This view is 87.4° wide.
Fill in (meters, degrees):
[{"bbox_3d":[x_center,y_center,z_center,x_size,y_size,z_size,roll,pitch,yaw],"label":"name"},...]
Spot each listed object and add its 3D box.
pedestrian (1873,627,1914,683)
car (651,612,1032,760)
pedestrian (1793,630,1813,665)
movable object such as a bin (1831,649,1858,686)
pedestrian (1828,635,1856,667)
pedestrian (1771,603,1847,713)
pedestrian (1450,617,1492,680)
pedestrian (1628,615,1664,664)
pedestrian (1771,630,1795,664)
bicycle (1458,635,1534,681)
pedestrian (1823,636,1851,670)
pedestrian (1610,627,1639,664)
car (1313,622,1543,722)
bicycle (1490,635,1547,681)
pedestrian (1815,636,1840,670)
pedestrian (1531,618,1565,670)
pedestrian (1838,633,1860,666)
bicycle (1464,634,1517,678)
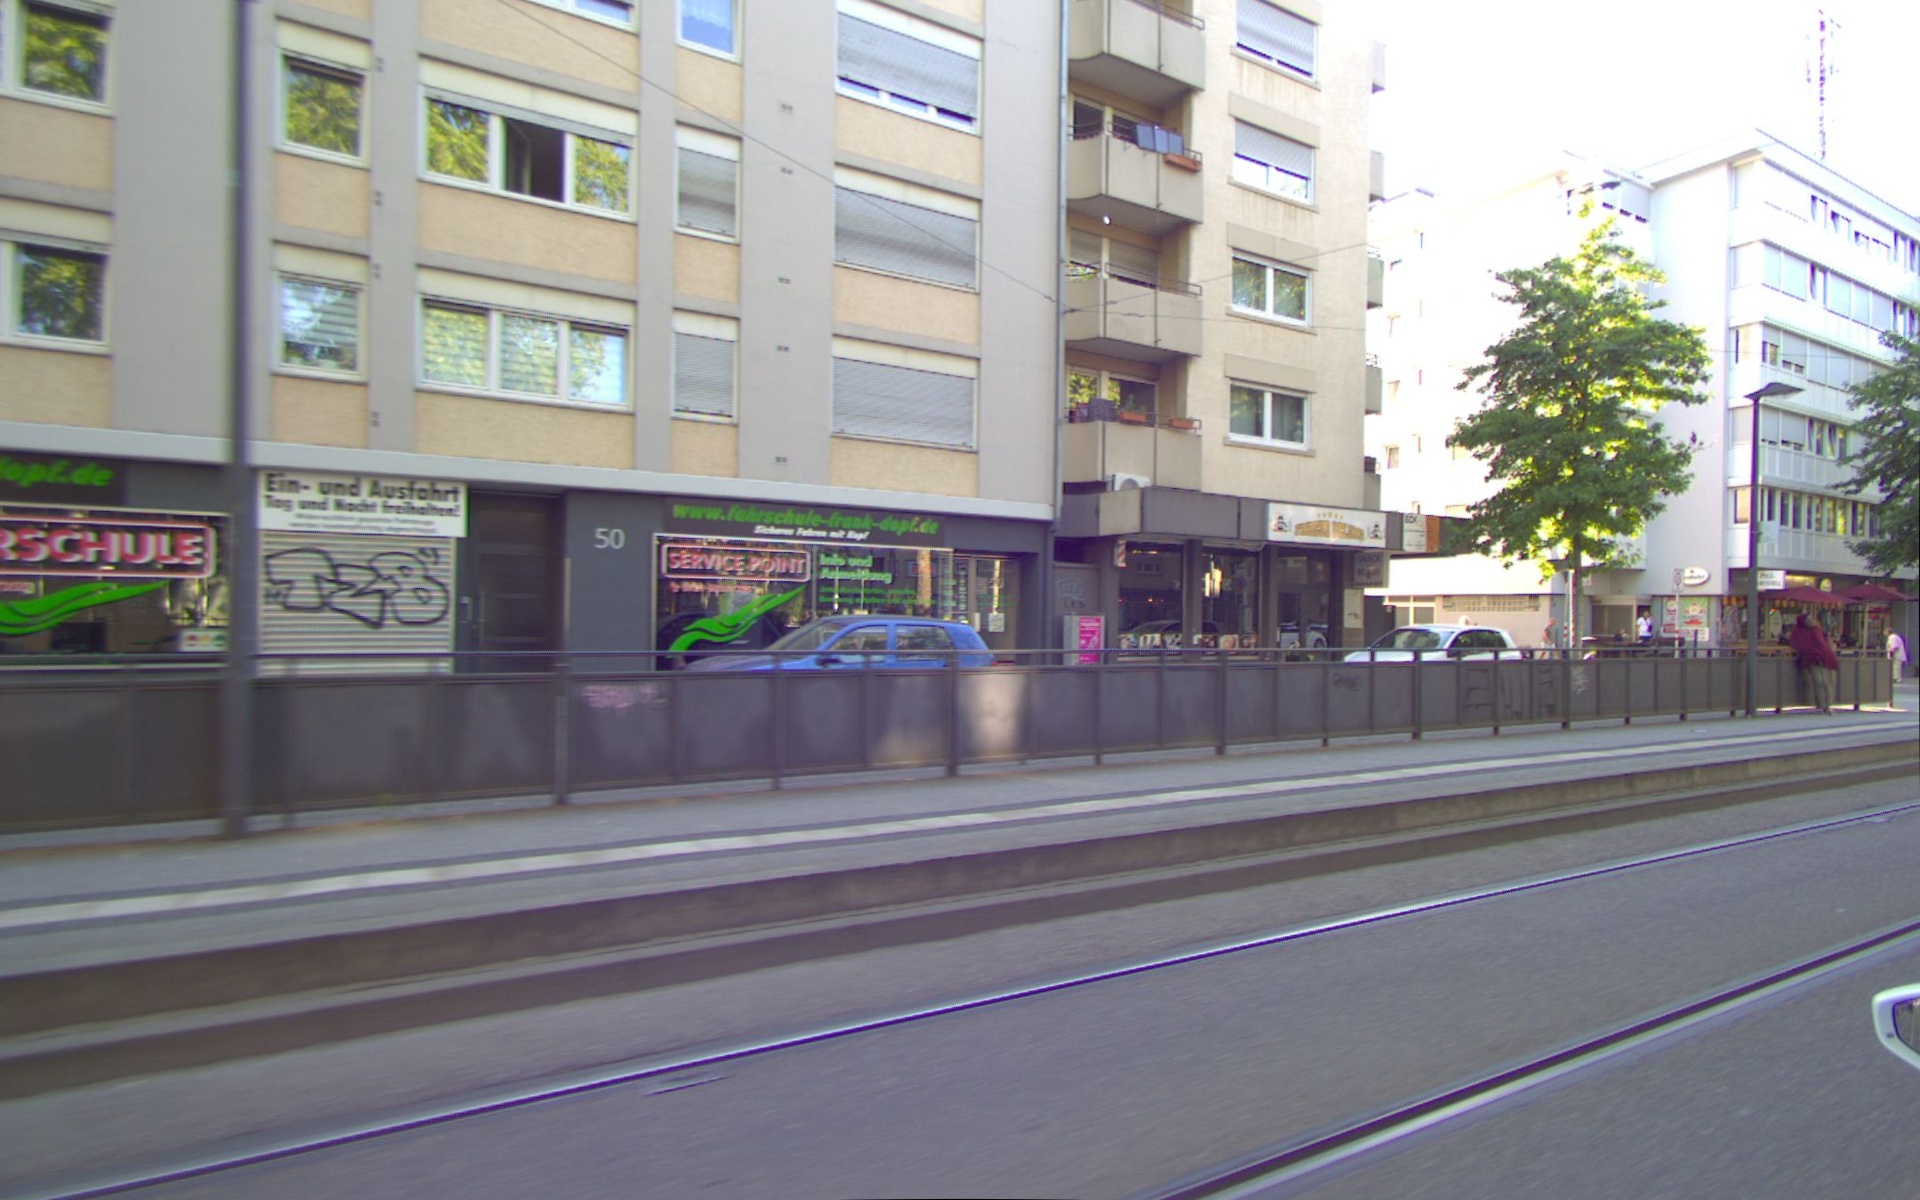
[{"bbox_3d":[26.651,1.564,28.689,0.761,1.577,0.720,1,-1,-35],"label":"pedestrian"},{"bbox_3d":[-1.424,0.976,12.553,4.337,1.565,1.947,1,-2,-30],"label":"car"},{"bbox_3d":[29.354,1.655,34.986,0.506,1.214,0.560,0,-1,44],"label":"pedestrian"},{"bbox_3d":[23.860,1.817,27.099,0.533,0.944,0.646,0,-1,43],"label":"movable object such as a bin"},{"bbox_3d":[34.435,1.972,39.216,0.648,1.214,0.669,1,-1,-31],"label":"pedestrian"},{"bbox_3d":[12.816,0.862,15.164,0.763,1.606,0.651,1,-1,-30],"label":"pedestrian"},{"bbox_3d":[13.117,1.243,25.774,0.718,1.577,0.720,1,-1,-34],"label":"pedestrian"},{"bbox_3d":[24.108,1.387,35.319,0.756,1.681,0.747,1,-1,-15],"label":"pedestrian"},{"bbox_3d":[29.308,1.668,35.776,0.553,1.214,0.513,0,-1,25],"label":"pedestrian"},{"bbox_3d":[14.405,1.545,27.032,0.564,1.172,1.853,1,-1,-25],"label":"bicycle"},{"bbox_3d":[31.926,1.910,36.591,0.591,1.214,0.691,0,-1,25],"label":"pedestrian"},{"bbox_3d":[23.131,1.585,34.973,0.735,1.258,0.768,0,-1,26],"label":"pedestrian"},{"bbox_3d":[8.801,1.277,18.817,4.309,1.673,1.868,1,-2,-31],"label":"car"},{"bbox_3d":[15.198,1.551,27.376,0.561,1.172,1.790,1,-1,1],"label":"bicycle"},{"bbox_3d":[30.851,1.878,35.720,0.557,1.214,0.509,1,-1,-28],"label":"pedestrian"},{"bbox_3d":[19.689,1.463,33.643,0.761,1.693,0.752,1,-1,-35],"label":"pedestrian"},{"bbox_3d":[32.705,1.816,36.955,0.504,1.214,0.562,0,-1,31],"label":"pedestrian"},{"bbox_3d":[14.817,1.552,28.078,0.561,1.172,1.790,1,-1,1],"label":"bicycle"}]
